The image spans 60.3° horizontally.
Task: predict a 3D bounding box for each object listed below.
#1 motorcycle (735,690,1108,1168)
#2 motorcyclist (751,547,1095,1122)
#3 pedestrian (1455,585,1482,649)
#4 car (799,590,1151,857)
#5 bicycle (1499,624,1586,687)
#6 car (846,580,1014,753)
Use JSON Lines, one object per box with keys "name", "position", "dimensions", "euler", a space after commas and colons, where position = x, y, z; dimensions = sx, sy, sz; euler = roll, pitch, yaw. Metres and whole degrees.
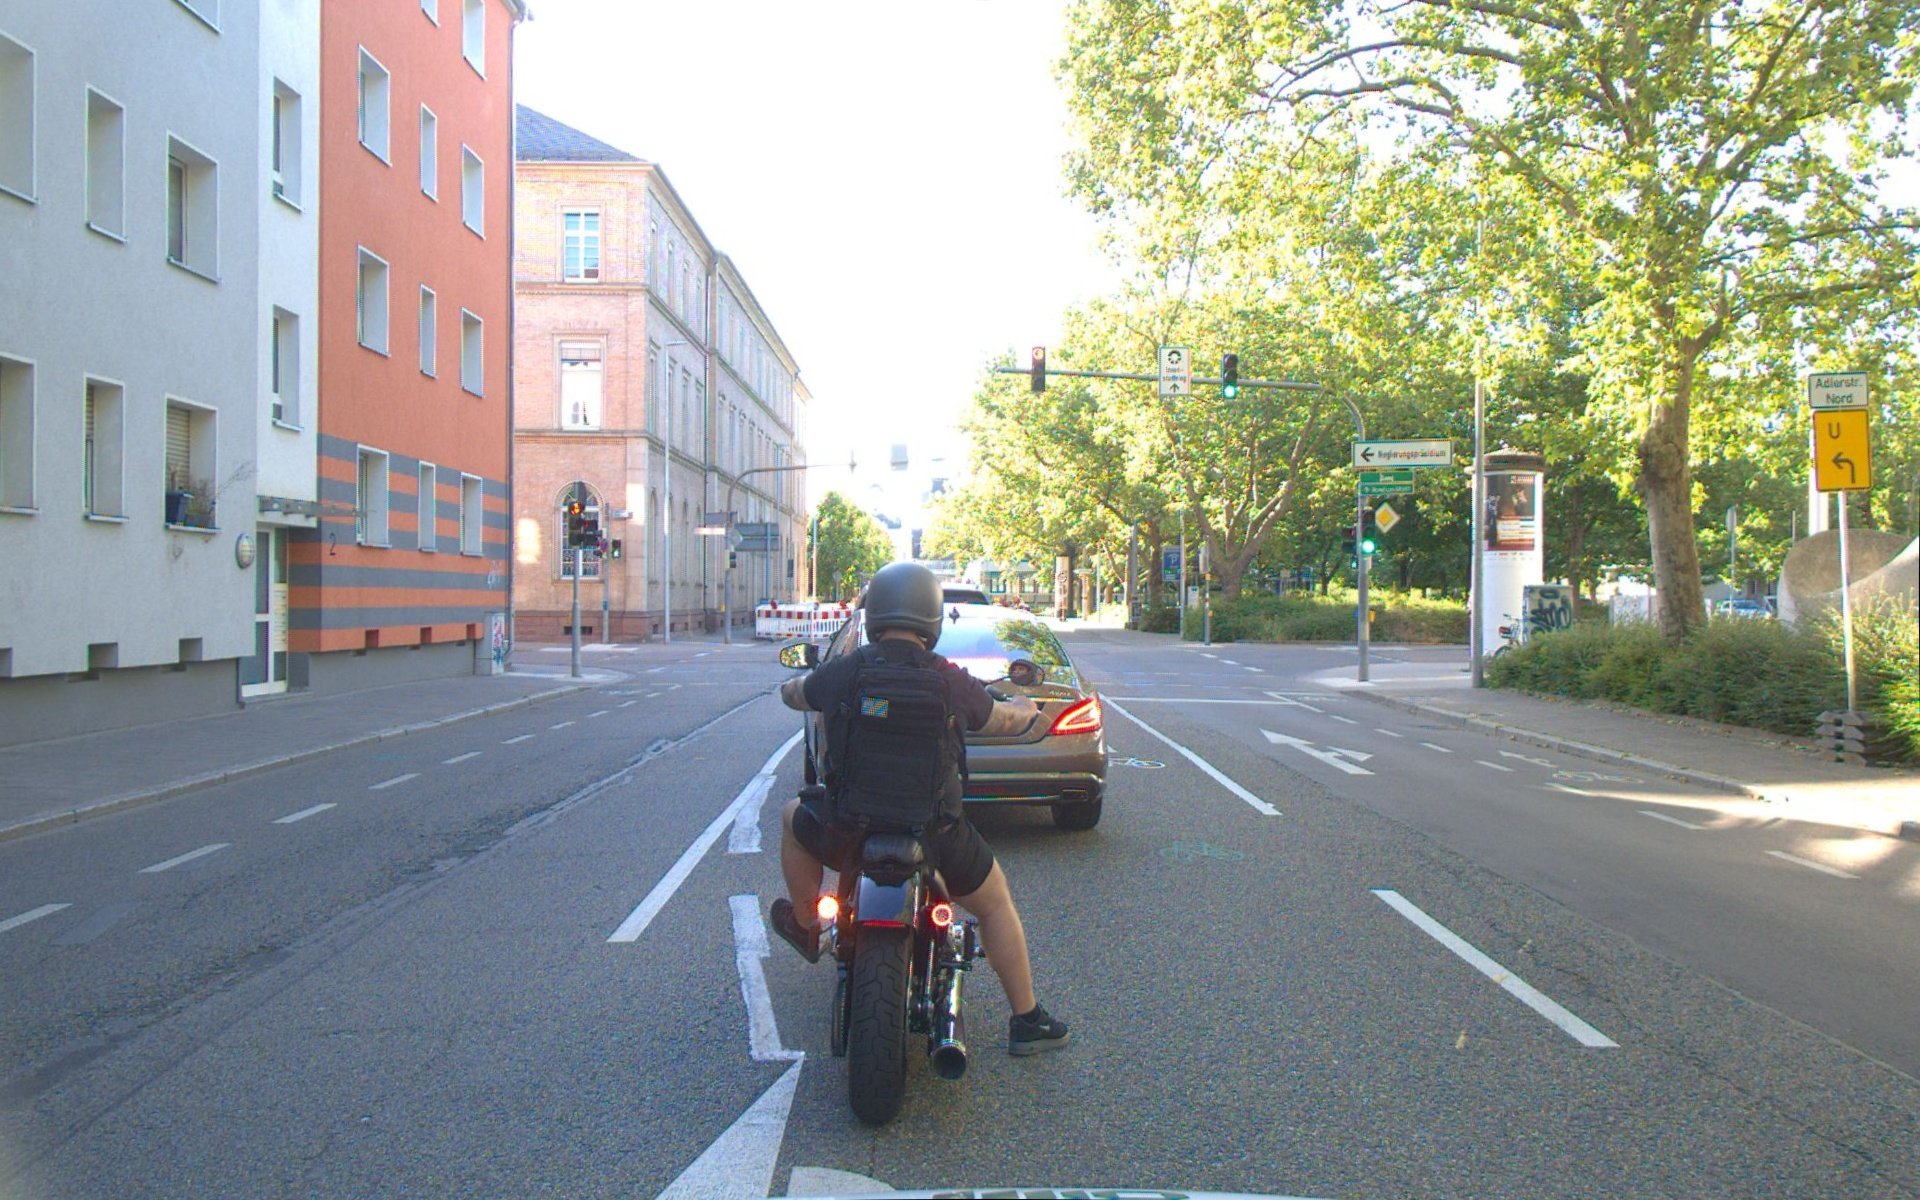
{"name": "motorcycle", "position": [-0.118, 0.924, 5.539], "dimensions": [0.969, 1.097, 2.451], "euler": [0, 0, -1]}
{"name": "motorcyclist", "position": [-0.113, 0.661, 5.385], "dimensions": [0.969, 1.625, 1.403], "euler": [0, 0, -1]}
{"name": "pedestrian", "position": [13.704, 0.448, 44.564], "dimensions": [0.616, 1.695, 0.684], "euler": [0, 0, 9]}
{"name": "car", "position": [-0.113, 0.682, 11.579], "dimensions": [1.909, 1.498, 4.355], "euler": [0, 0, -7]}
{"name": "bicycle", "position": [9.734, 0.920, 27.657], "dimensions": [1.324, 1.041, 0.363], "euler": [0, 0, 0]}
{"name": "car", "position": [-0.335, 0.617, 17.743], "dimensions": [1.580, 1.636, 4.327], "euler": [0, 0, -2]}
